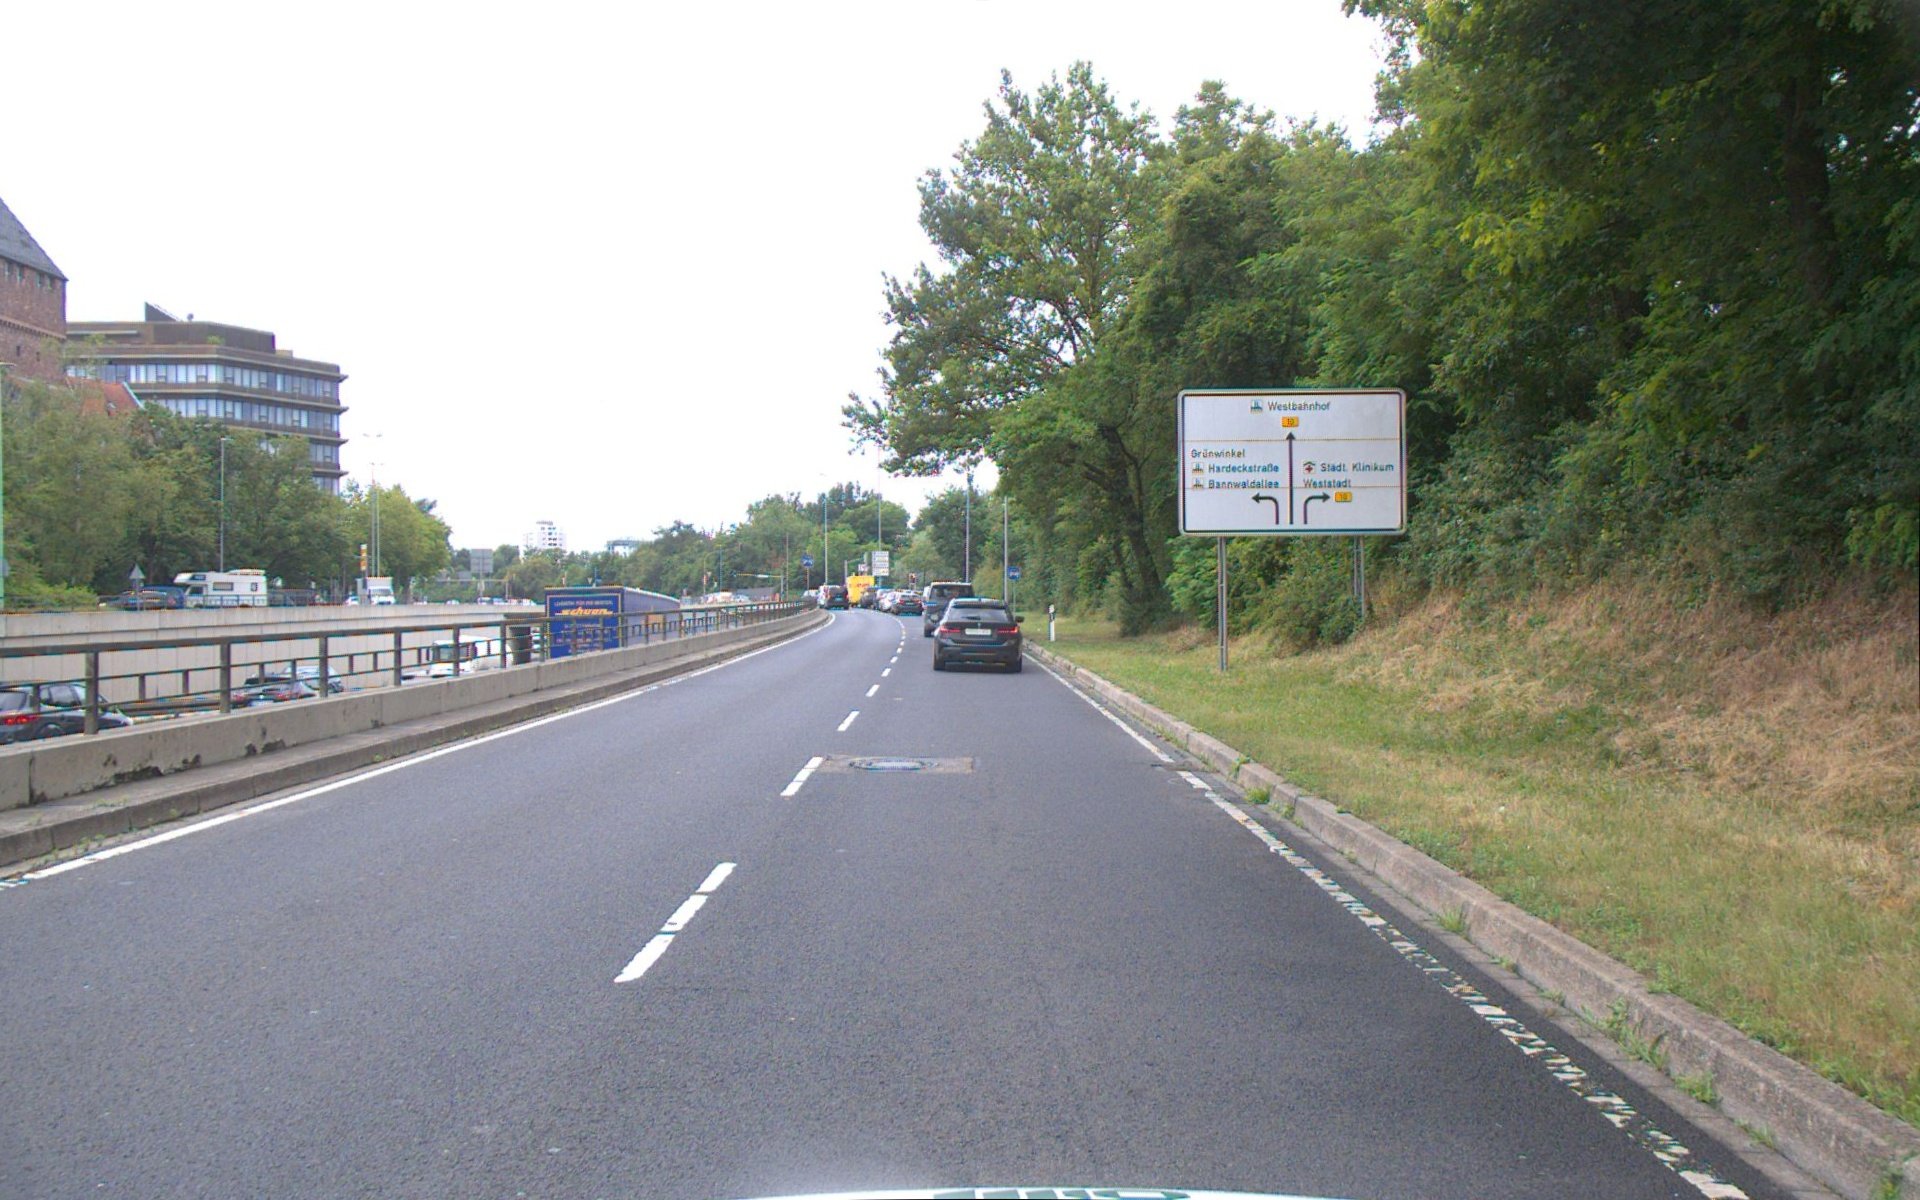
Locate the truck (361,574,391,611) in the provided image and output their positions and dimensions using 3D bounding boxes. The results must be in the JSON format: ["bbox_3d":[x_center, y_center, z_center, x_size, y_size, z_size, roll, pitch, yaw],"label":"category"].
[{"bbox_3d":[-49.819,-0.598,140.987,1.989,3.039,7.048,1,0,-23],"label":"truck"}]

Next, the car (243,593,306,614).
[{"bbox_3d":[-49.937,0.276,120.470,1.597,1.466,3.982,1,-1,38],"label":"car"}]

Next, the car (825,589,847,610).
[{"bbox_3d":[-10.558,-0.048,140.279,1.593,1.731,4.288,1,0,-8],"label":"car"}]

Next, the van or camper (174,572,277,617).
[{"bbox_3d":[-48.912,-0.336,110.190,2.110,2.859,5.884,1,-1,44],"label":"van or camper"}]

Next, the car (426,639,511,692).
[{"bbox_3d":[-15.818,2.090,53.400,1.590,1.555,3.896,1,0,0],"label":"car"}]

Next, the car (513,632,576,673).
[{"bbox_3d":[-16.999,2.133,67.816,1.590,1.555,3.896,1,0,0],"label":"car"}]

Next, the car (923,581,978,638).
[{"bbox_3d":[-0.351,0.347,59.379,1.860,1.917,4.415,1,0,0],"label":"car"}]

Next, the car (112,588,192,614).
[{"bbox_3d":[-48.115,0.057,98.556,1.597,1.466,3.982,1,-1,38],"label":"car"}]

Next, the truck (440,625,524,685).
[{"bbox_3d":[-29.527,3.332,102.647,2.474,3.410,11.044,-1,0,-3],"label":"truck"}]

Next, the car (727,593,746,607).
[{"bbox_3d":[-27.341,0.020,202.551,1.590,1.731,4.297,1,0,2],"label":"car"}]

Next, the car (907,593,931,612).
[{"bbox_3d":[-3.523,0.211,141.605,1.847,1.572,3.997,1,0,-3],"label":"car"}]

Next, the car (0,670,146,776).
[{"bbox_3d":[-16.048,2.098,29.066,1.622,1.555,3.895,1,0,-2],"label":"car"}]

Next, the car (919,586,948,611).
[{"bbox_3d":[-2.105,-0.105,130.895,1.848,1.912,4.424,1,0,-6],"label":"car"}]

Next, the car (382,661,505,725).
[{"bbox_3d":[-11.787,2.094,37.963,1.622,1.234,3.896,1,0,-1],"label":"car"}]

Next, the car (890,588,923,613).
[{"bbox_3d":[-3.523,0.042,108.743,1.848,1.620,4.424,1,0,-6],"label":"car"}]

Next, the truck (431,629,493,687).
[{"bbox_3d":[-29.317,3.370,97.437,2.474,3.276,4.316,-1,-1,-3],"label":"truck"}]

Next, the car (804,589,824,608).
[{"bbox_3d":[-13.721,-0.091,155.344,1.593,1.731,4.288,1,0,-8],"label":"car"}]

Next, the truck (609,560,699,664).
[{"bbox_3d":[-12.670,0.511,68.929,2.793,4.107,6.094,-1,-1,-2],"label":"truck"}]

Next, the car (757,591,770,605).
[{"bbox_3d":[-26.127,-0.250,219.893,1.593,1.731,4.288,1,0,-8],"label":"car"}]

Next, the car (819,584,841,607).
[{"bbox_3d":[-11.670,-0.396,148.271,1.848,2.022,4.423,1,0,-6],"label":"car"}]

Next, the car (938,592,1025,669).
[{"bbox_3d":[0.397,0.580,34.487,1.713,1.451,4.461,0,1,-1],"label":"car"}]

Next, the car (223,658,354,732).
[{"bbox_3d":[-16.308,2.276,40.339,1.590,1.555,3.896,1,0,0],"label":"car"}]

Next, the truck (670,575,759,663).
[{"bbox_3d":[-12.586,0.957,86.280,2.793,4.107,15.571,-1,0,-2],"label":"truck"}]

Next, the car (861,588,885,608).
[{"bbox_3d":[-7.623,-0.188,145.347,1.848,1.730,4.424,1,0,-6],"label":"car"}]

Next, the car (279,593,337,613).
[{"bbox_3d":[-50.652,0.207,128.508,1.597,1.466,3.982,1,-1,38],"label":"car"}]

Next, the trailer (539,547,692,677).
[{"bbox_3d":[-12.348,0.449,61.021,2.794,4.107,15.998,-1,0,-2],"label":"trailer"}]

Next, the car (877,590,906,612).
[{"bbox_3d":[-5.157,0.088,123.290,1.848,1.620,4.424,1,0,-6],"label":"car"}]
